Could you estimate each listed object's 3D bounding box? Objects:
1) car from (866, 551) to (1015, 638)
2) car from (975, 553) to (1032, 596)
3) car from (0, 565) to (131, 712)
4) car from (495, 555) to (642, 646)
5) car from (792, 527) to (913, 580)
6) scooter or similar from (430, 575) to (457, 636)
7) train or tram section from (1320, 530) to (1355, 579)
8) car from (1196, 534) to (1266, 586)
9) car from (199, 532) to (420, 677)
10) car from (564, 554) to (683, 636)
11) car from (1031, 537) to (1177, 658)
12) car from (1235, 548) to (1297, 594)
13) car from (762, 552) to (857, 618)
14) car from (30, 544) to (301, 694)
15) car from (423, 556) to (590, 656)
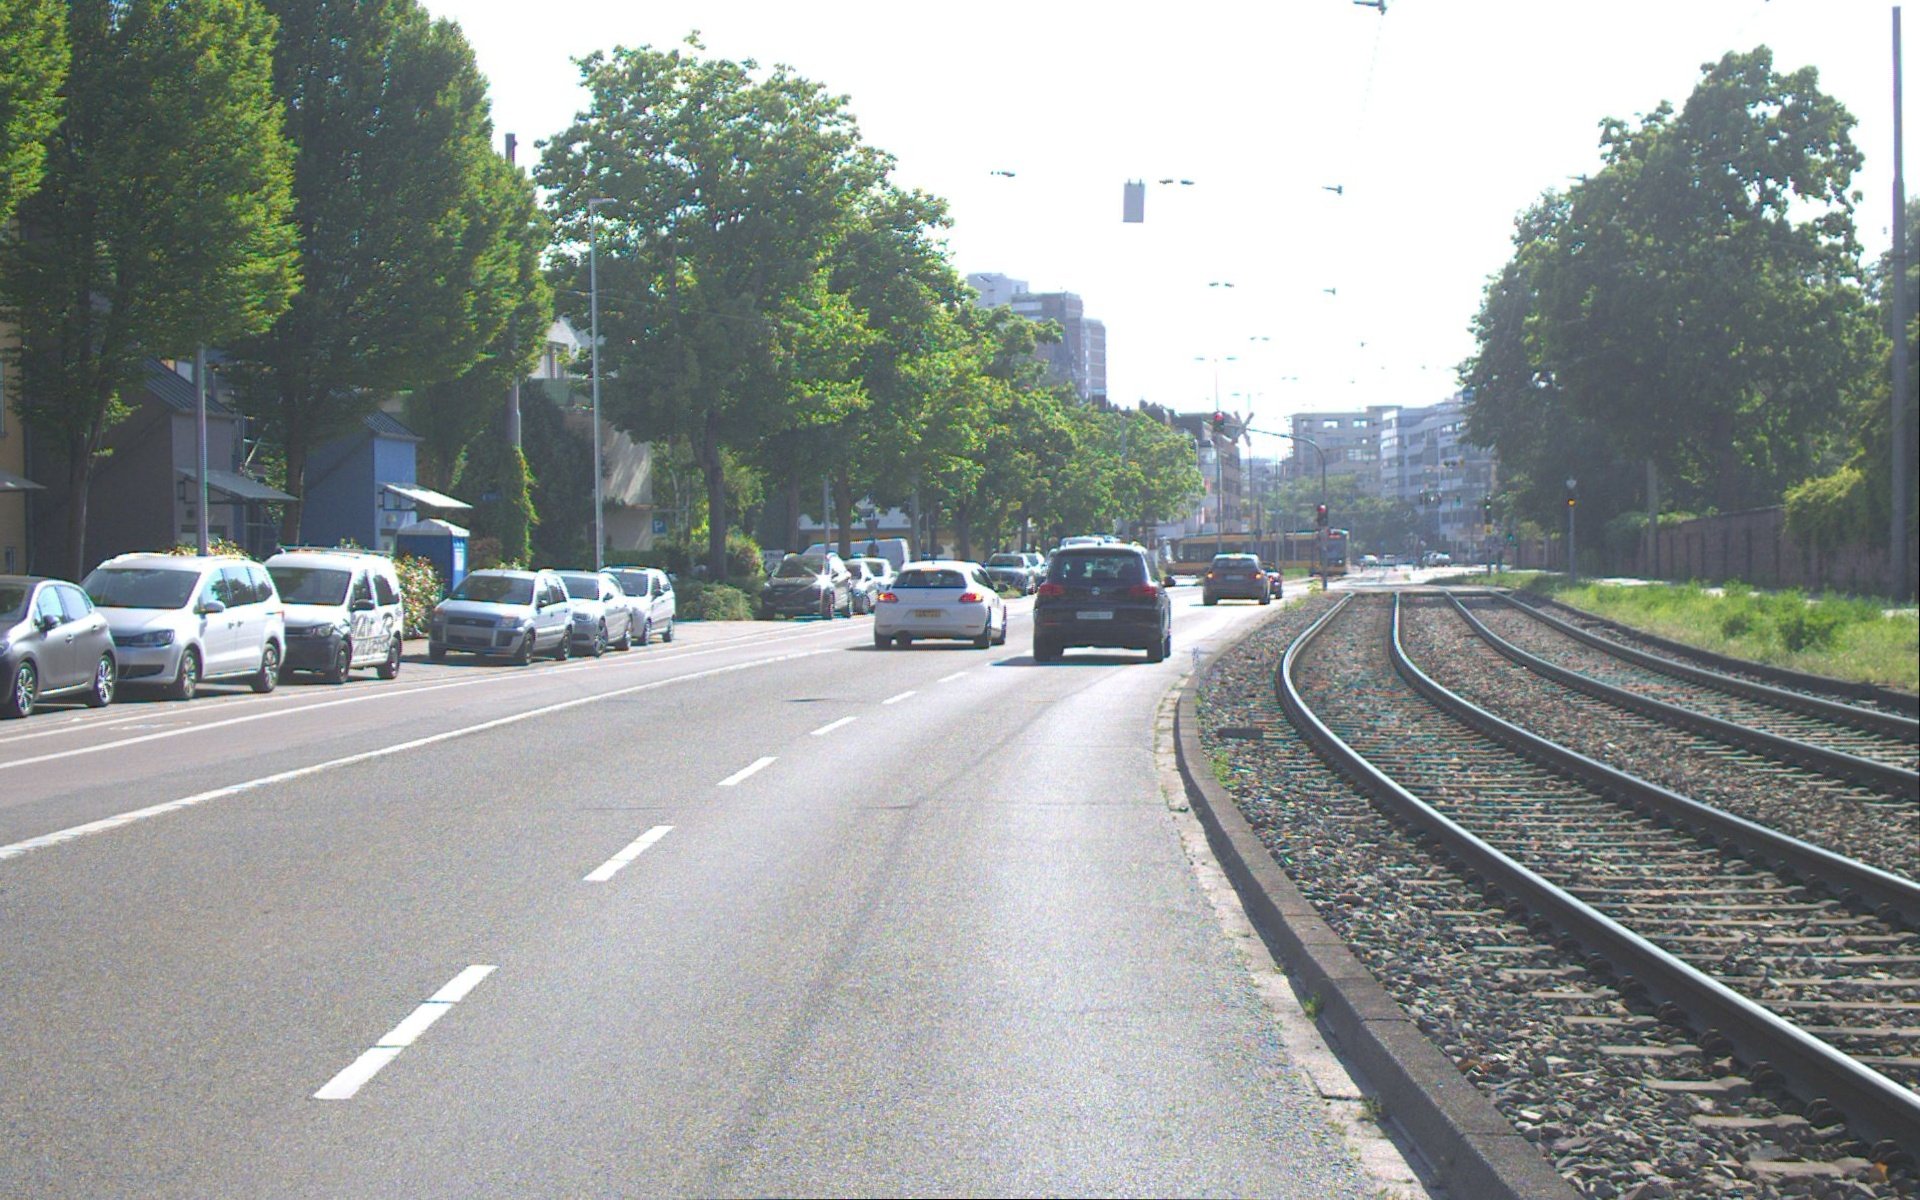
[{"bbox_3d":[-0.270,-0.113,55.062,1.865,1.343,3.999,0,1,7],"label":"car"},{"bbox_3d":[1.767,-1.048,138.379,1.732,1.652,3.999,-1,1,9],"label":"car"},{"bbox_3d":[-10.400,0.369,37.099,1.616,1.461,4.057,1,1,5],"label":"car"},{"bbox_3d":[-7.194,-0.029,63.667,1.749,1.505,4.755,4,1,4],"label":"car"},{"bbox_3d":[-5.071,-2.207,162.548,5.377,2.415,2.087,-1,1,8],"label":"car"},{"bbox_3d":[-9.887,0.093,65.820,0.294,1.150,1.043,-1,1,3],"label":"scooter or similar"},{"bbox_3d":[28.058,-3.379,255.568,2.327,3.558,8.897,-1,1,7],"label":"train or tram section"},{"bbox_3d":[7.751,-1.149,98.039,1.812,1.444,3.999,1,1,7],"label":"car"},{"bbox_3d":[-9.126,0.034,48.620,1.763,1.839,4.579,4,1,5],"label":"car"},{"bbox_3d":[-6.724,-0.122,68.946,1.601,1.489,3.508,4,1,6],"label":"car"},{"bbox_3d":[2.083,-0.053,48.747,1.812,1.639,3.999,0,0,6],"label":"car"},{"bbox_3d":[10.039,-0.968,112.550,1.812,1.444,3.999,1,1,8],"label":"car"},{"bbox_3d":[-3.906,-0.412,90.081,1.712,1.688,4.421,-1,1,8],"label":"car"},{"bbox_3d":[-9.686,0.192,42.309,1.669,1.695,4.823,1,1,7],"label":"car"},{"bbox_3d":[-7.685,0.077,58.551,1.763,1.534,3.980,4,1,7],"label":"car"}]
